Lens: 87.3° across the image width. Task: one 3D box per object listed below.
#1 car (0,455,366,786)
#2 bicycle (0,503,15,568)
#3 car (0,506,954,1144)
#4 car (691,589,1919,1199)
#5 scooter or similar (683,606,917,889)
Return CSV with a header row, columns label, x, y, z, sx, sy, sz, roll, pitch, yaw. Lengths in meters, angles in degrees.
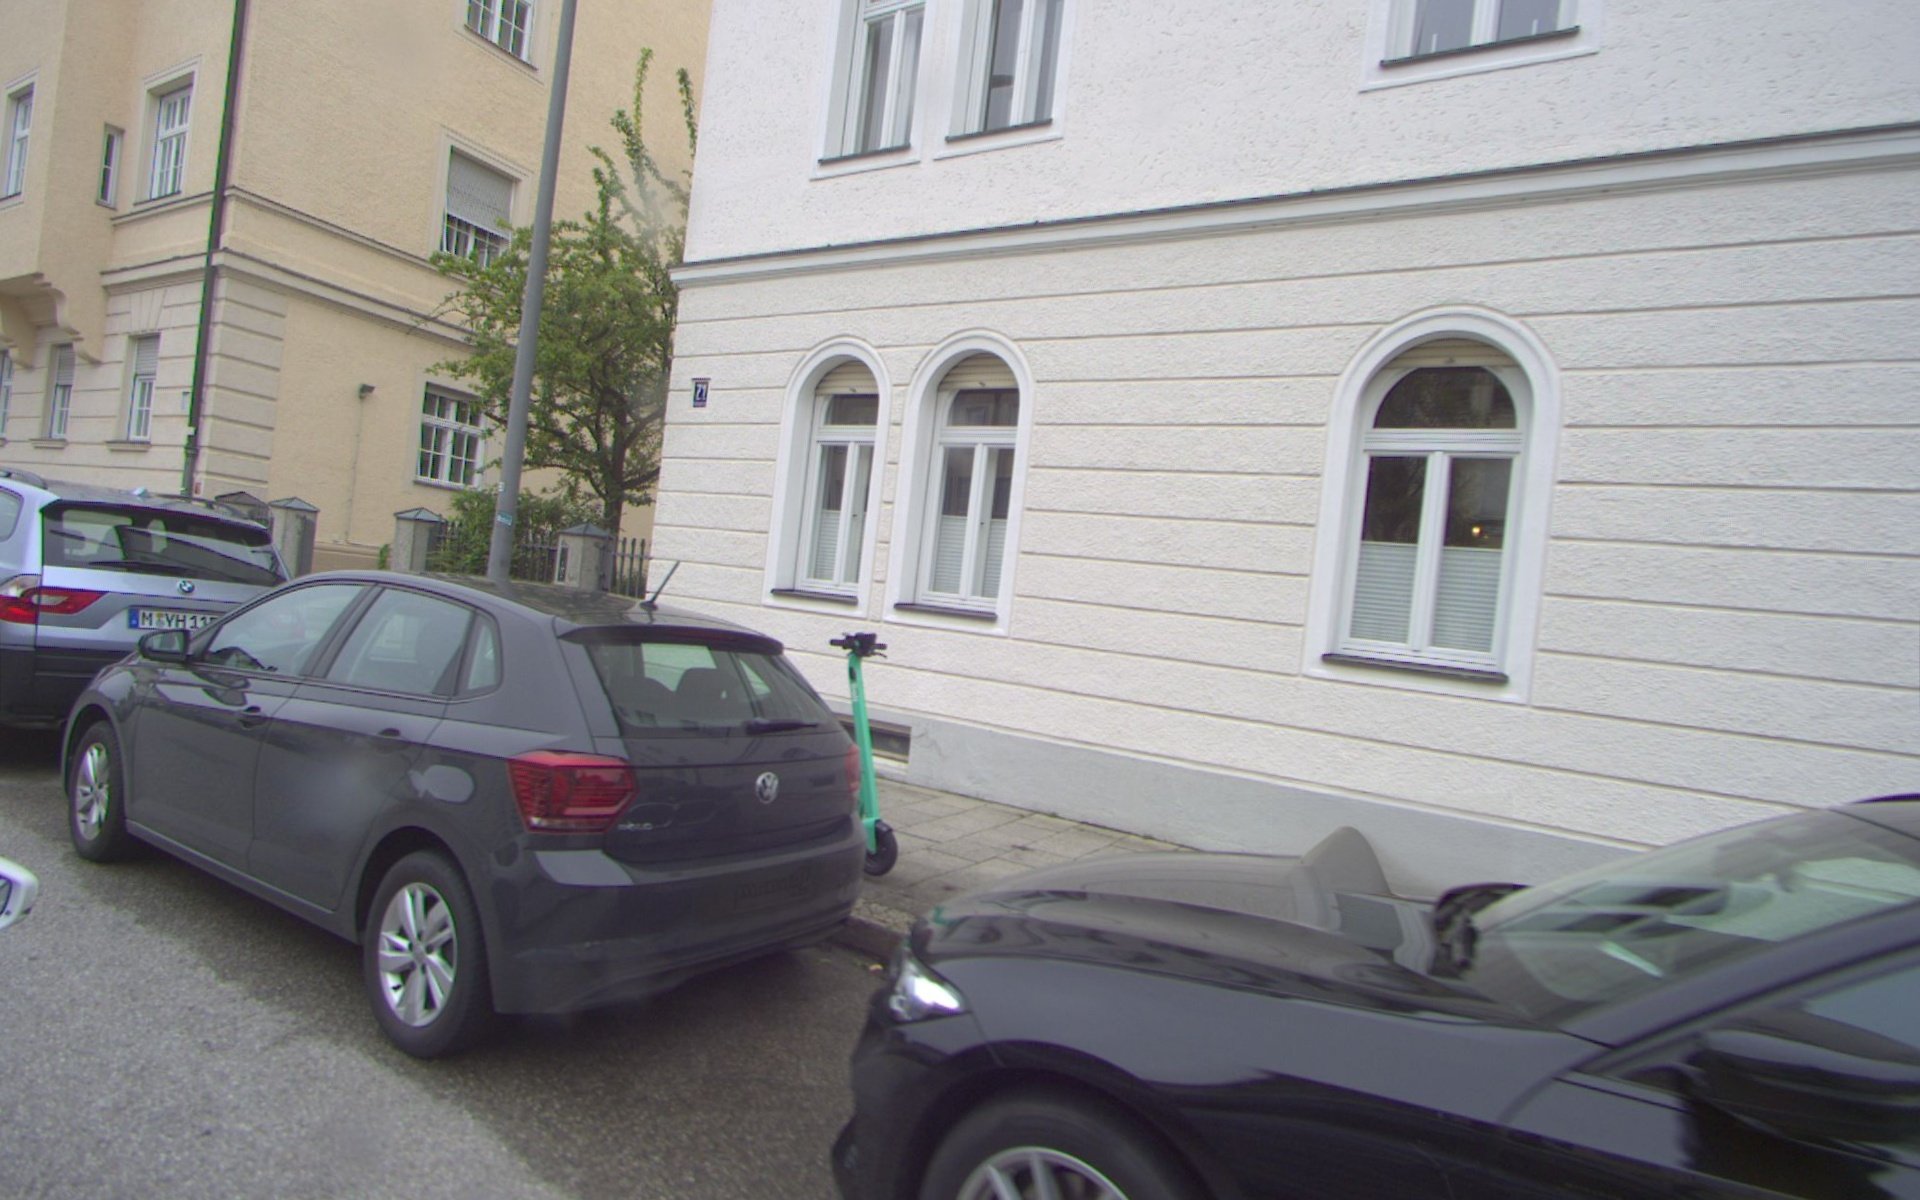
label,x,y,z,sx,sy,sz,roll,pitch,yaw
car,-6.371,-0.032,6.937,4.422,1.683,1.850,7,-1,30
bicycle,-16.926,-1.181,17.265,2.103,1.063,0.502,7,3,33
car,-2.280,0.577,4.465,4.016,1.467,1.831,7,-1,31
car,1.913,1.029,1.839,4.599,1.467,1.879,7,-2,31
scooter or similar,-0.841,0.721,5.223,1.030,1.245,0.428,7,0,32
